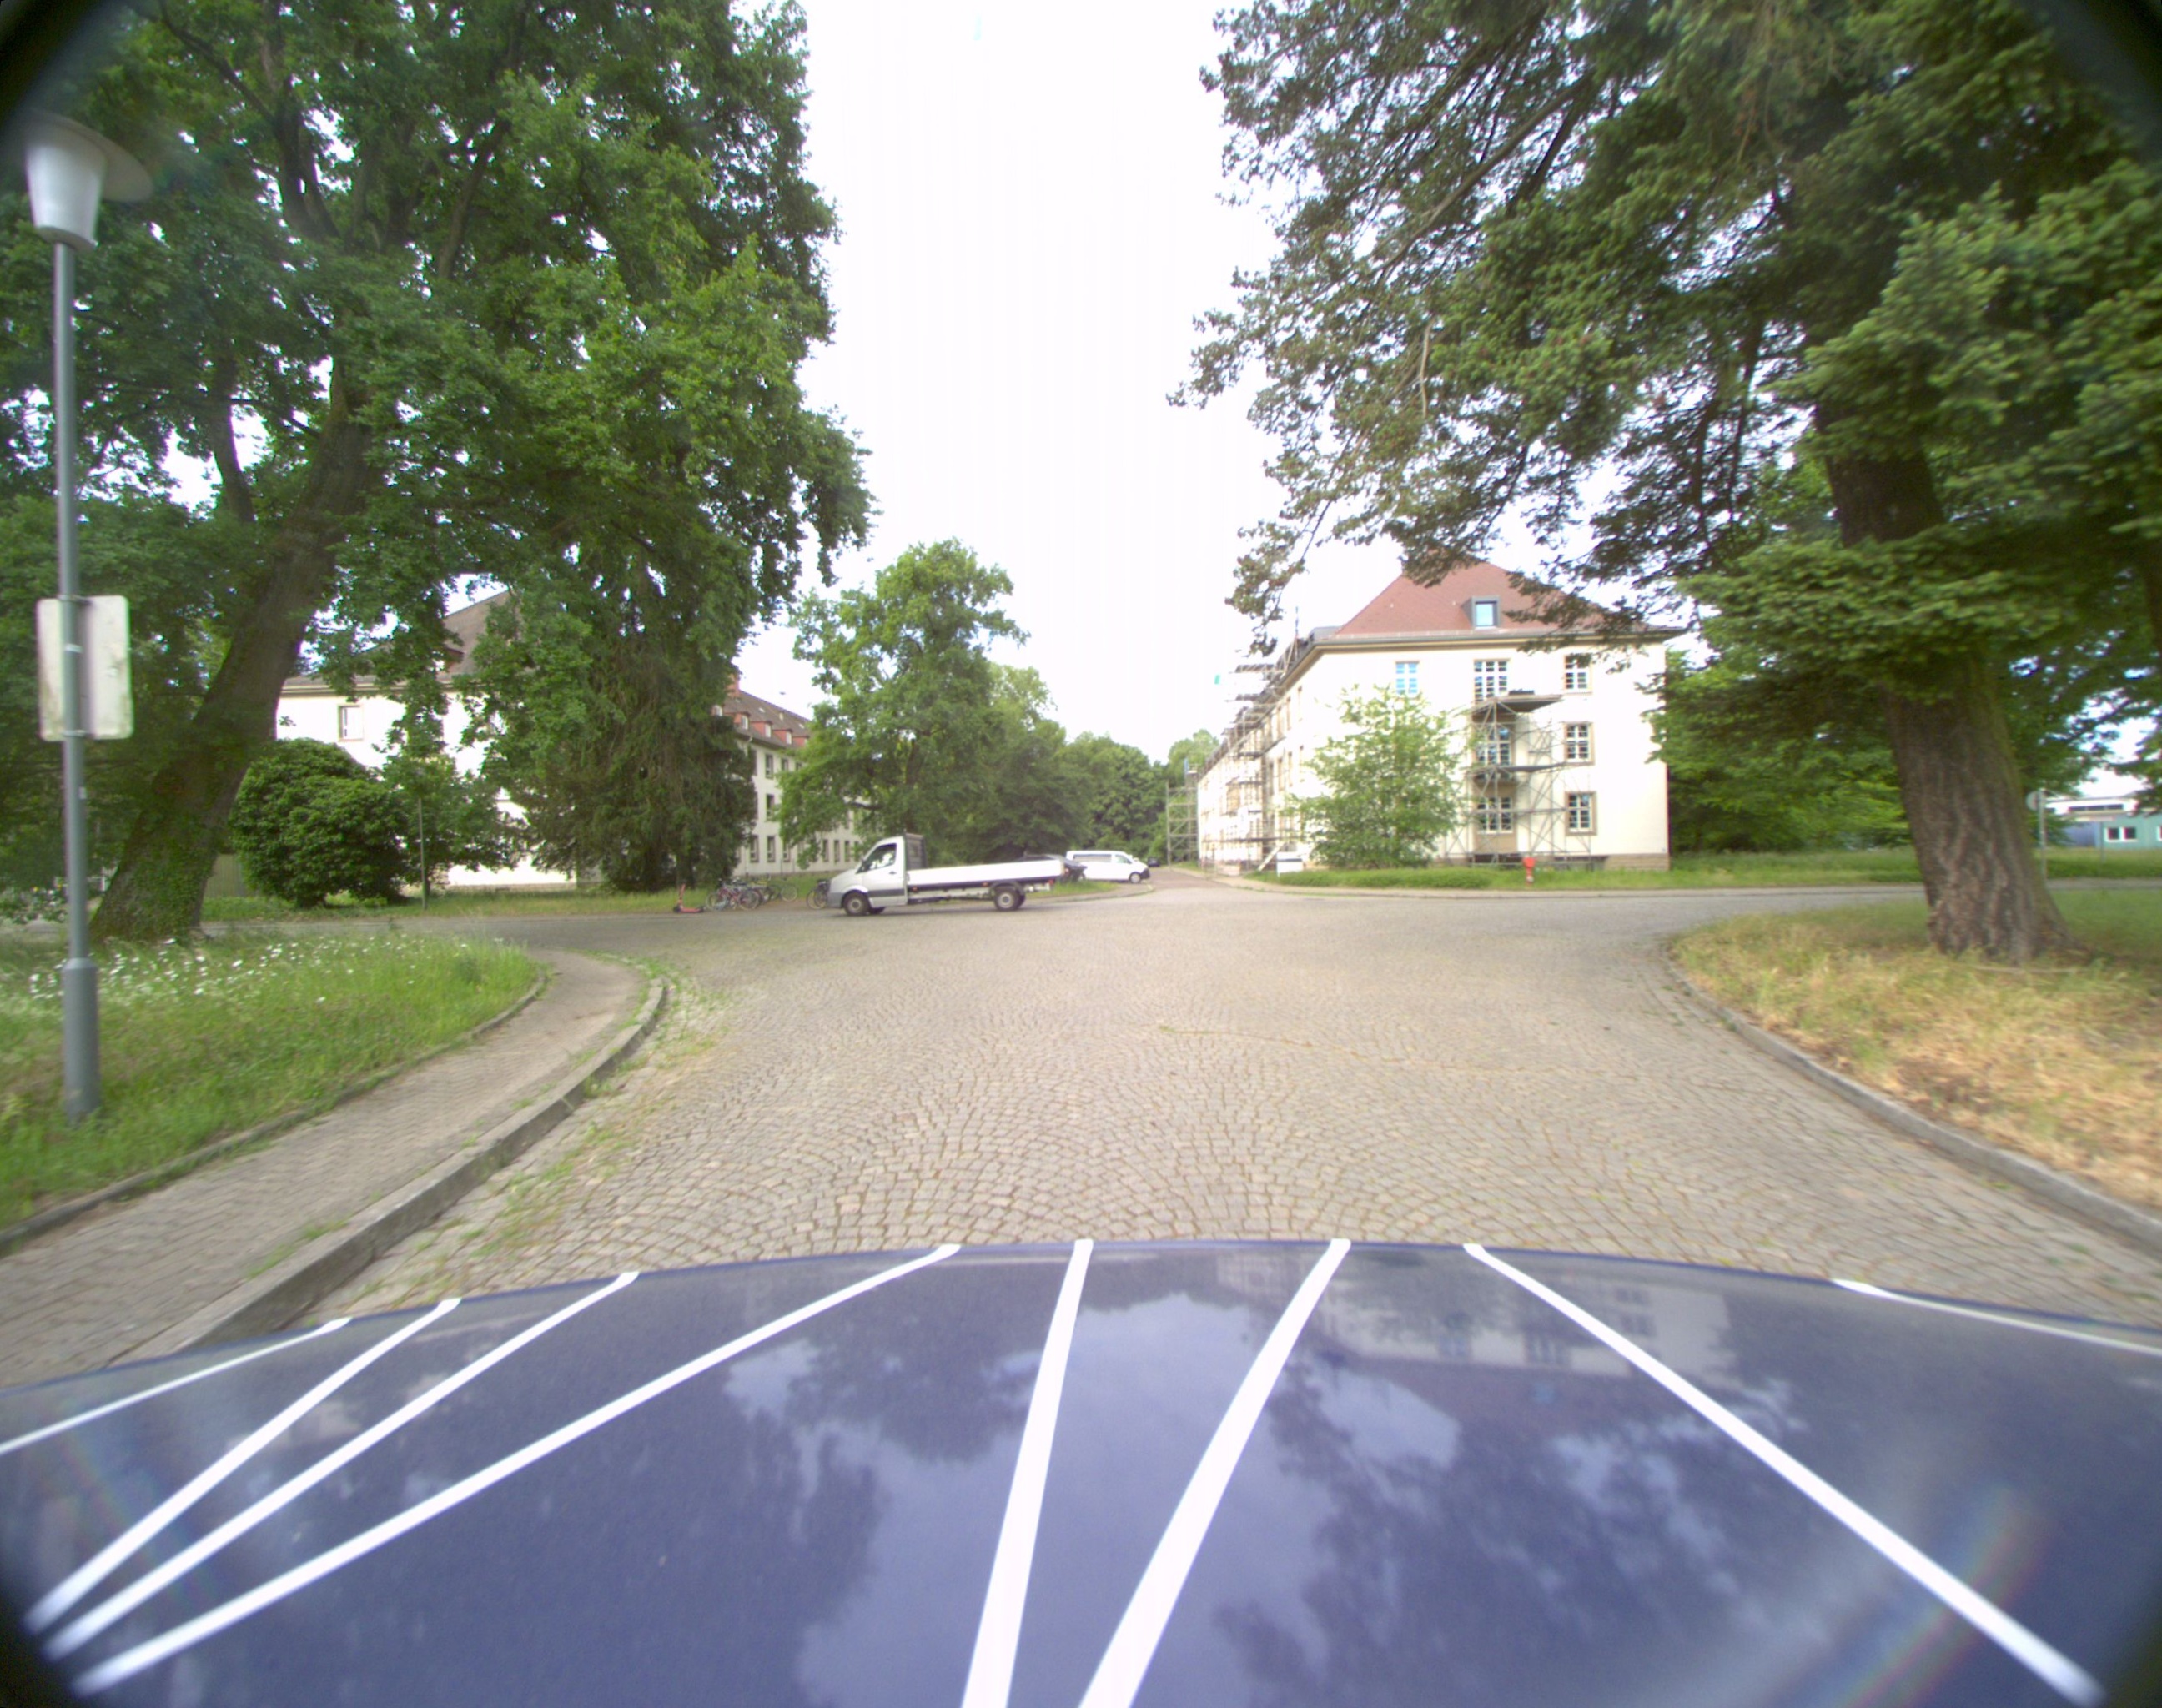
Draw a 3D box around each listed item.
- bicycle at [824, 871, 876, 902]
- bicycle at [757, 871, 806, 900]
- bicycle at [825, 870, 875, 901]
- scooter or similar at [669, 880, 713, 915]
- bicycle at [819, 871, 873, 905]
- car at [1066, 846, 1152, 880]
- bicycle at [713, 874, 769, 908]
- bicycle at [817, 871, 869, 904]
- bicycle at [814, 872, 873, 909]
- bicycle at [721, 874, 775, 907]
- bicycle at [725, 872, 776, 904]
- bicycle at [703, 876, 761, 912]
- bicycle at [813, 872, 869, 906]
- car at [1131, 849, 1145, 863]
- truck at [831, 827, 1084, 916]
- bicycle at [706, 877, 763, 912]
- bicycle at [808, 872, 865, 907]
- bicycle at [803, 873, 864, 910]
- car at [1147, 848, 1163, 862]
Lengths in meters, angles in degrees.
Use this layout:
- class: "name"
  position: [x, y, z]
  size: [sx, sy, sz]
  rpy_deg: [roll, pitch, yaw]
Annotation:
- class: "bicycle"
  position: [-9.533, 1.330, 31.363]
  size: [1.941, 1.163, 0.487]
  rpy_deg: [-3, 1, -19]
- class: "bicycle"
  position: [-12.592, 1.324, 32.001]
  size: [1.859, 1.163, 0.488]
  rpy_deg: [0, 0, -6]
- class: "bicycle"
  position: [-9.901, 1.342, 32.625]
  size: [1.940, 1.163, 0.537]
  rpy_deg: [-3, 1, -13]
- class: "scooter or similar"
  position: [-13.704, 1.527, 26.708]
  size: [1.307, 1.163, 0.413]
  rpy_deg: [-3, 1, 2]
- class: "bicycle"
  position: [-9.241, 1.323, 29.876]
  size: [1.941, 1.163, 0.487]
  rpy_deg: [-3, 1, -19]
- class: "car"
  position: [1.750, 0.527, 46.718]
  size: [5.148, 2.002, 2.000]
  rpy_deg: [-1, 1, 3]
- class: "bicycle"
  position: [-12.828, 1.393, 28.721]
  size: [1.861, 1.163, 0.487]
  rpy_deg: [-2, 1, -18]
- class: "bicycle"
  position: [-9.638, 1.338, 30.755]
  size: [1.941, 1.163, 0.487]
  rpy_deg: [-3, 1, -19]
- class: "bicycle"
  position: [-8.588, 1.302, 27.524]
  size: [1.942, 1.163, 0.487]
  rpy_deg: [-3, 1, -24]
- class: "bicycle"
  position: [-12.928, 1.393, 29.494]
  size: [1.862, 1.163, 0.487]
  rpy_deg: [-2, 1, -26]
- class: "bicycle"
  position: [-13.435, 1.373, 30.917]
  size: [1.862, 1.163, 0.487]
  rpy_deg: [-2, 1, -26]
- class: "bicycle"
  position: [-12.573, 1.435, 27.425]
  size: [1.861, 1.163, 0.487]
  rpy_deg: [-2, 1, -22]
- class: "bicycle"
  position: [-9.189, 1.325, 29.093]
  size: [1.941, 1.163, 0.487]
  rpy_deg: [-3, 1, -22]
- class: "car"
  position: [8.406, 0.253, 112.639]
  size: [1.962, 2.002, 4.261]
  rpy_deg: [-1, 1, 2]
- class: "truck"
  position: [-3.520, 0.526, 22.460]
  size: [7.081, 2.352, 1.994]
  rpy_deg: [-1, 0, 3]
- class: "bicycle"
  position: [-12.740, 1.466, 28.004]
  size: [1.861, 1.163, 0.487]
  rpy_deg: [-2, 1, -22]
- class: "bicycle"
  position: [-9.163, 1.327, 28.476]
  size: [1.941, 1.163, 0.487]
  rpy_deg: [-3, 1, -22]
- class: "bicycle"
  position: [-8.739, 1.315, 26.854]
  size: [1.942, 1.163, 0.487]
  rpy_deg: [-3, 1, -24]
- class: "car"
  position: [10.951, 0.182, 112.738]
  size: [1.962, 2.002, 4.261]
  rpy_deg: [-1, 1, 2]
